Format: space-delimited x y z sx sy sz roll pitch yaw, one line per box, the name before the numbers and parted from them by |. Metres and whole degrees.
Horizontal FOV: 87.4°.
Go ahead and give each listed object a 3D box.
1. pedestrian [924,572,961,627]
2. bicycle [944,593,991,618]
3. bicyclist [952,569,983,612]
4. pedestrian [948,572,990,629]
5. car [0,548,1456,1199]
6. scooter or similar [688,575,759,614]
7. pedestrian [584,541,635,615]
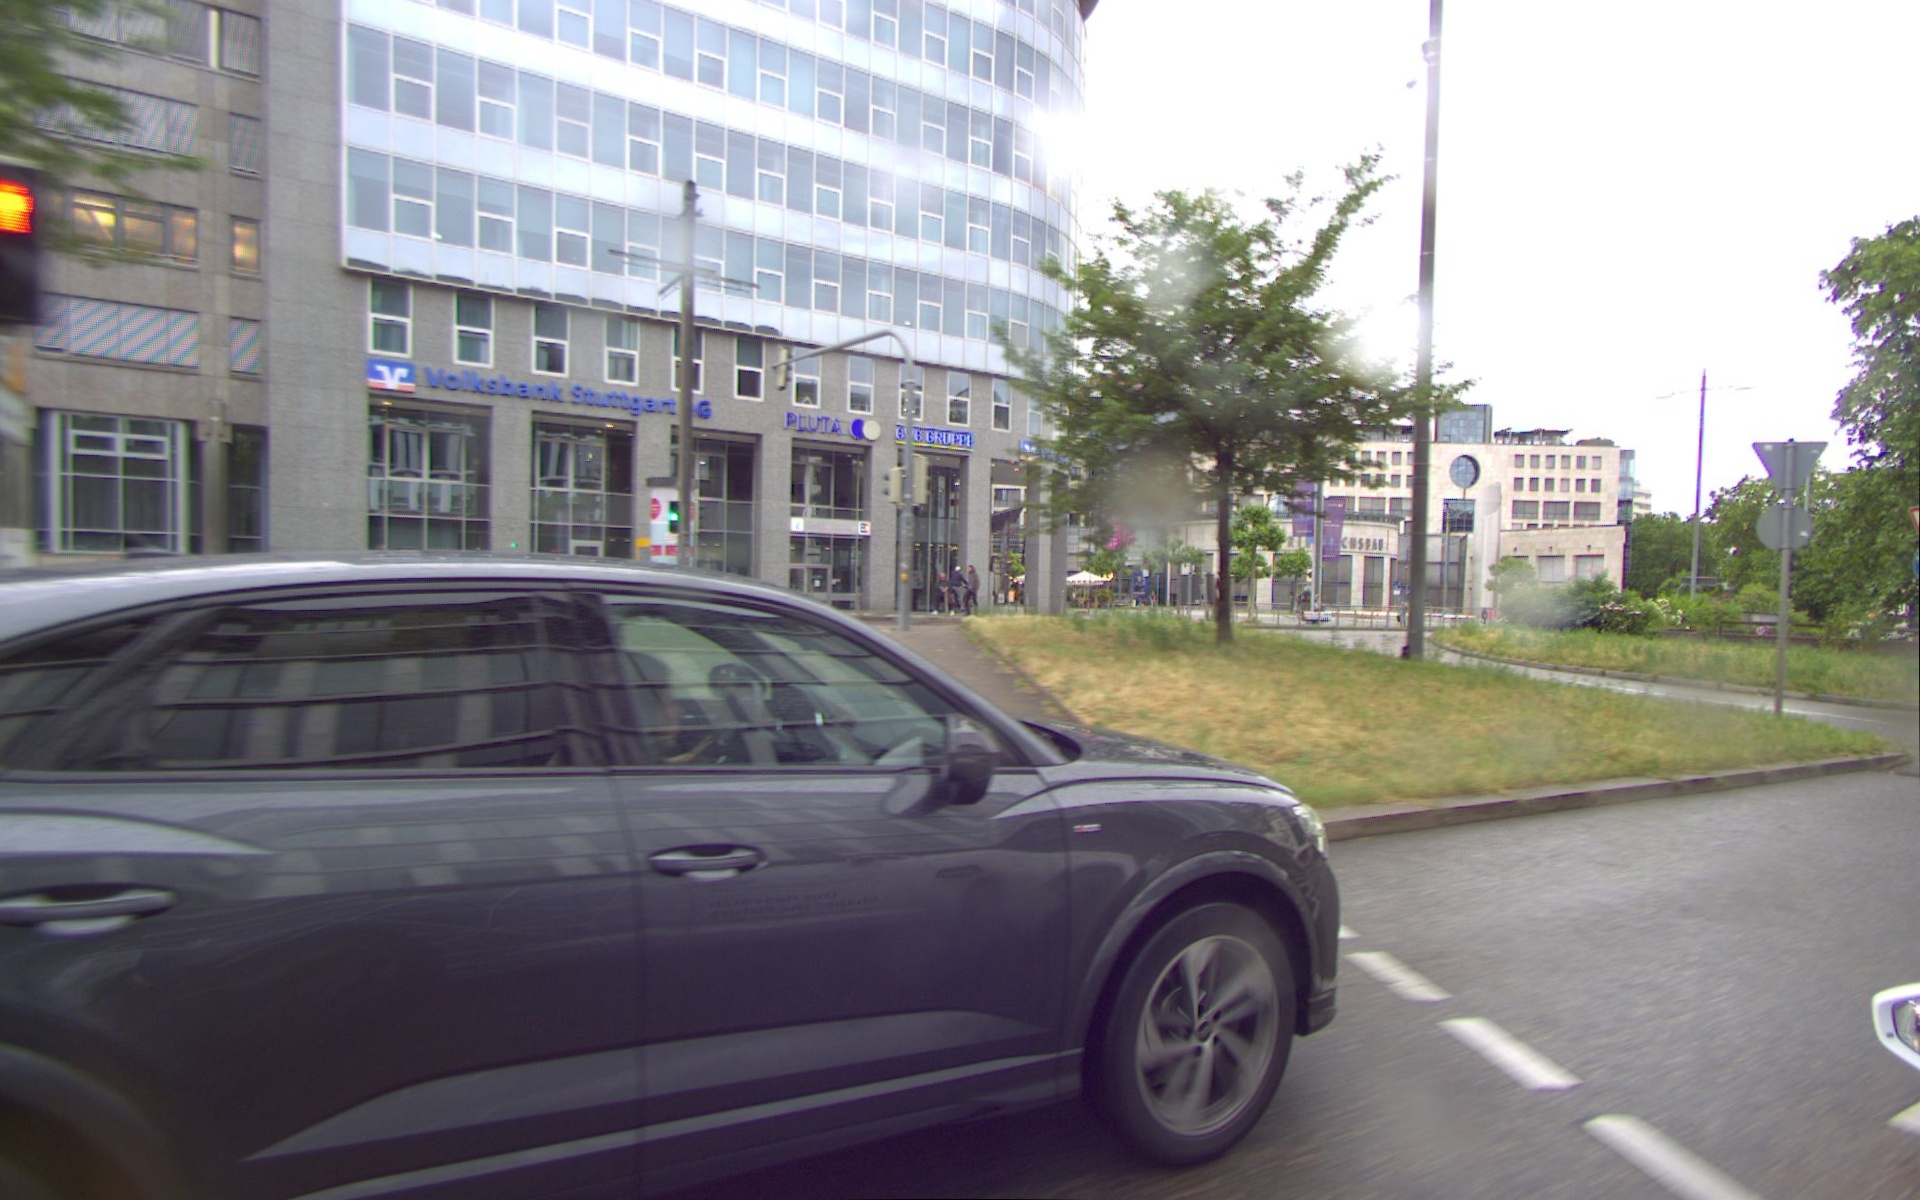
pedestrian | -0.668 -0.018 37.826 1.028 2.040 0.841 2 0 -44
bicycle | 0.312 0.227 42.420 1.915 1.020 0.739 2 0 -35
bicyclist | 0.320 -0.404 42.406 1.031 1.764 0.732 2 0 -34
pedestrian | 0.325 0.015 36.770 1.028 2.040 1.042 2 0 -43
car | -0.816 0.708 2.793 4.294 1.538 1.852 2 1 -30
scooter or similar | -8.136 -0.177 34.548 2.223 1.229 0.768 2 1 -35
pedestrian | -9.400 -0.577 26.958 0.926 1.906 0.947 2 0 -43
